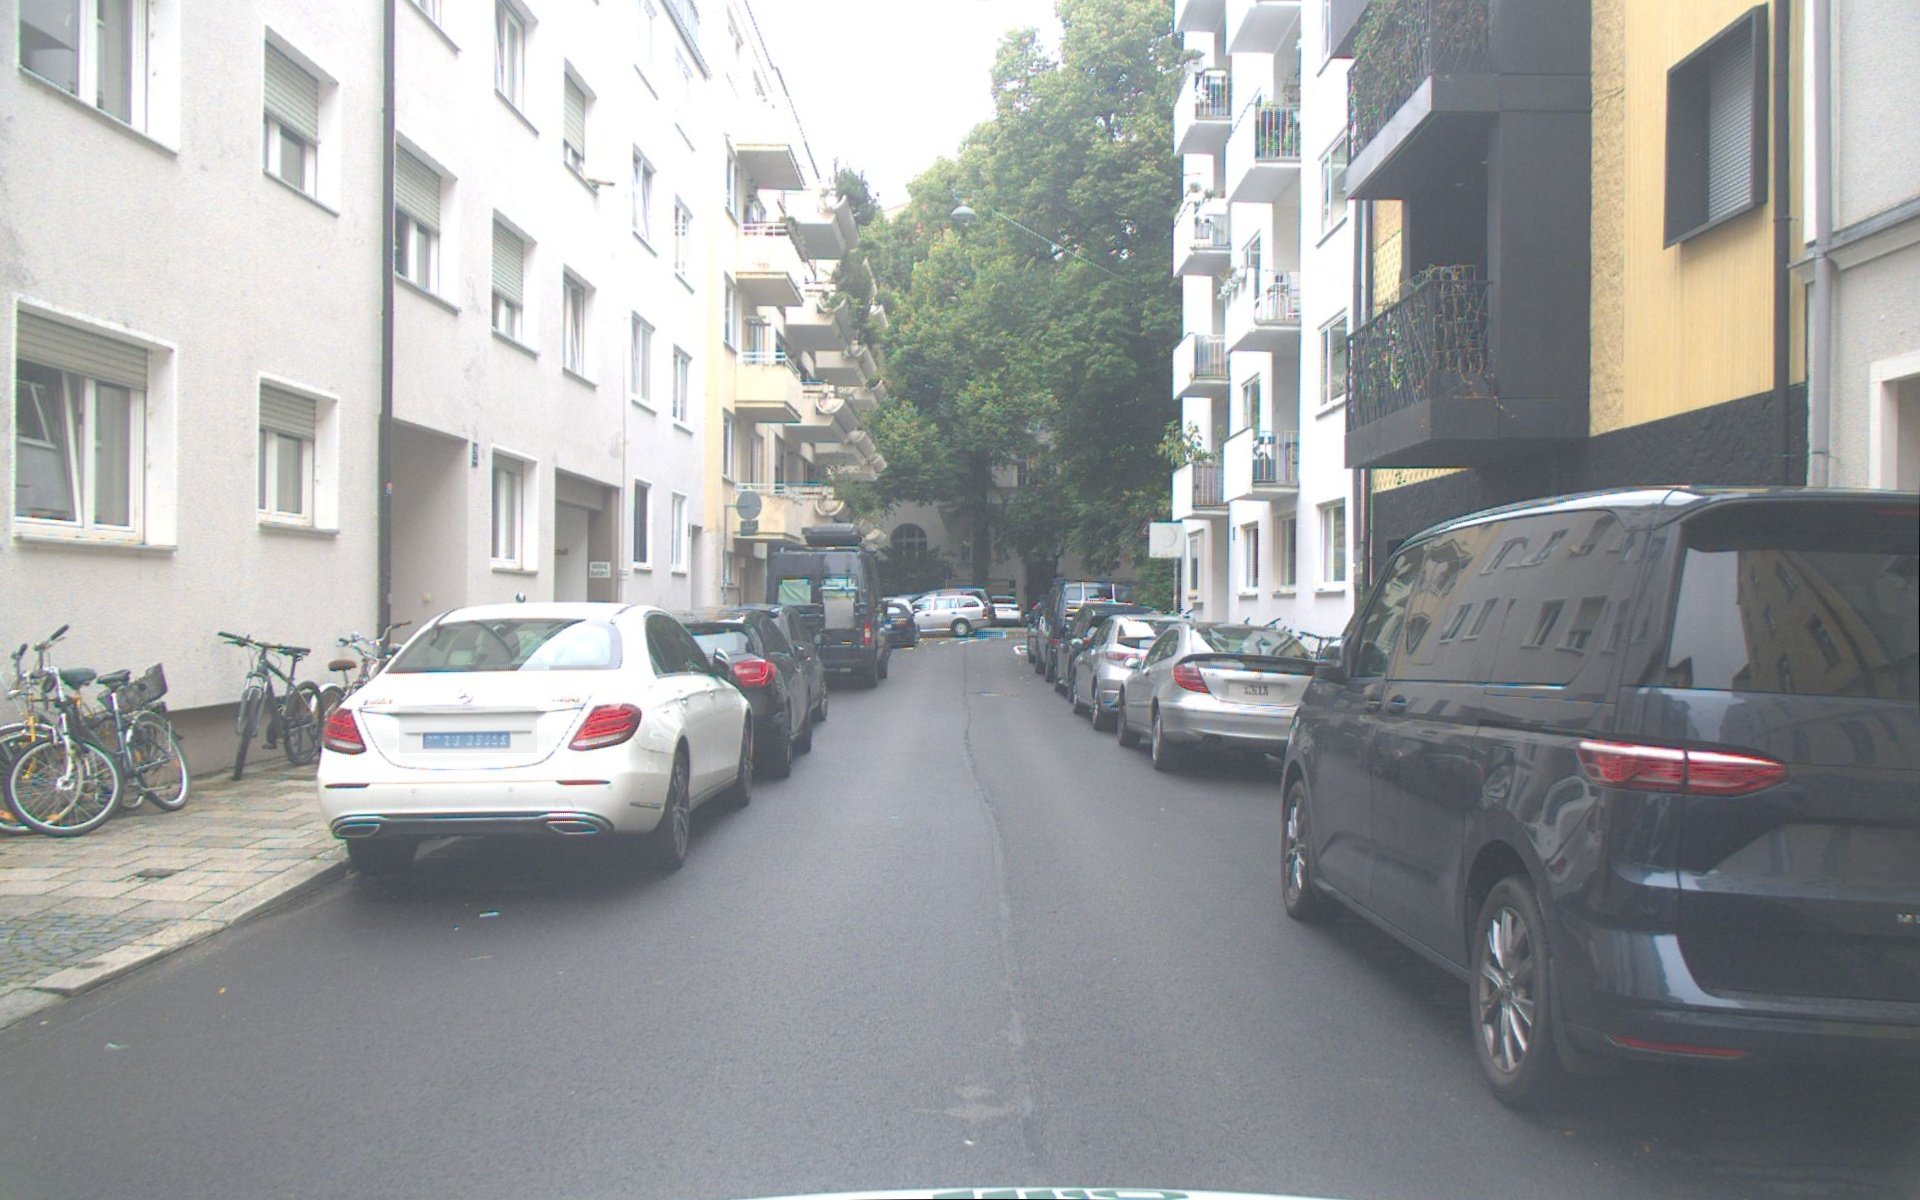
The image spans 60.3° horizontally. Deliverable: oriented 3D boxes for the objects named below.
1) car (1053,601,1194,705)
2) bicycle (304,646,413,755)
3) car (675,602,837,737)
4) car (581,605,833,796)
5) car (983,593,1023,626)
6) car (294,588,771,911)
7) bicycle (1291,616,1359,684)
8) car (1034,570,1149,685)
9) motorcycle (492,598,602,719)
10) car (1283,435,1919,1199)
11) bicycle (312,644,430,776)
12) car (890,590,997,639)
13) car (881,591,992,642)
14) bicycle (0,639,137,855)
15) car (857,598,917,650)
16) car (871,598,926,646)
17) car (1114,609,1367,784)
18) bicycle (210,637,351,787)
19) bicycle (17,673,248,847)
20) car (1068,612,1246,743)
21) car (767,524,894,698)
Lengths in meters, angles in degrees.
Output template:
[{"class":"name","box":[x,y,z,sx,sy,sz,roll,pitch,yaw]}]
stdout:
[{"class":"car","box":[2.631,0.816,27.584,1.792,1.479,4.415,3,0,-1]},{"class":"bicycle","box":[-5.449,0.889,15.065,0.388,0.884,1.614,2,0,-1]},{"class":"car","box":[-2.465,0.799,20.620,1.609,1.478,3.161,-2,0,-1]},{"class":"car","box":[-2.234,0.830,15.619,1.741,1.478,4.045,-2,0,-1]},{"class":"car","box":[1.940,0.413,75.564,1.609,1.408,3.745,-2,0,-1]},{"class":"car","box":[-2.360,0.733,10.385,1.740,1.513,4.519,-2,0,0]},{"class":"bicycle","box":[5.361,0.711,24.373,0.497,0.921,2.041,-1,0,-1]},{"class":"car","box":[2.538,0.513,32.991,1.792,2.034,4.415,3,0,-1]},{"class":"motorcycle","box":[-5.007,0.668,20.218,0.666,1.374,2.486,1,0,1]},{"class":"car","box":[2.623,0.577,6.435,1.792,1.943,4.415,2,0,0]},{"class":"bicycle","box":[-4.964,0.899,14.023,0.388,0.999,1.655,2,0,-1]},{"class":"car","box":[-0.623,0.509,60.676,3.807,1.612,1.647,-2,0,-2]},{"class":"car","box":[-0.846,0.575,58.694,3.807,1.612,1.647,-2,0,-2]},{"class":"bicycle","box":[-5.483,0.841,9.569,0.388,1.086,2.133,2,2,-1]},{"class":"car","box":[-2.120,0.680,48.772,1.609,1.408,3.482,-2,0,-1]},{"class":"car","box":[-1.921,0.664,52.621,1.609,1.408,3.482,-2,0,-1]},{"class":"car","box":[2.773,0.900,17.362,1.792,1.479,4.415,3,0,-1]},{"class":"bicycle","box":[-5.415,0.857,13.274,0.388,1.069,1.759,2,0,-1]},{"class":"bicycle","box":[-5.168,0.958,10.480,0.388,0.884,2.132,2,0,-1]},{"class":"car","box":[2.568,0.968,22.567,1.792,1.479,4.415,3,0,-1]},{"class":"car","box":[-2.279,0.175,30.120,1.897,2.850,4.532,-2,0,-1]}]
